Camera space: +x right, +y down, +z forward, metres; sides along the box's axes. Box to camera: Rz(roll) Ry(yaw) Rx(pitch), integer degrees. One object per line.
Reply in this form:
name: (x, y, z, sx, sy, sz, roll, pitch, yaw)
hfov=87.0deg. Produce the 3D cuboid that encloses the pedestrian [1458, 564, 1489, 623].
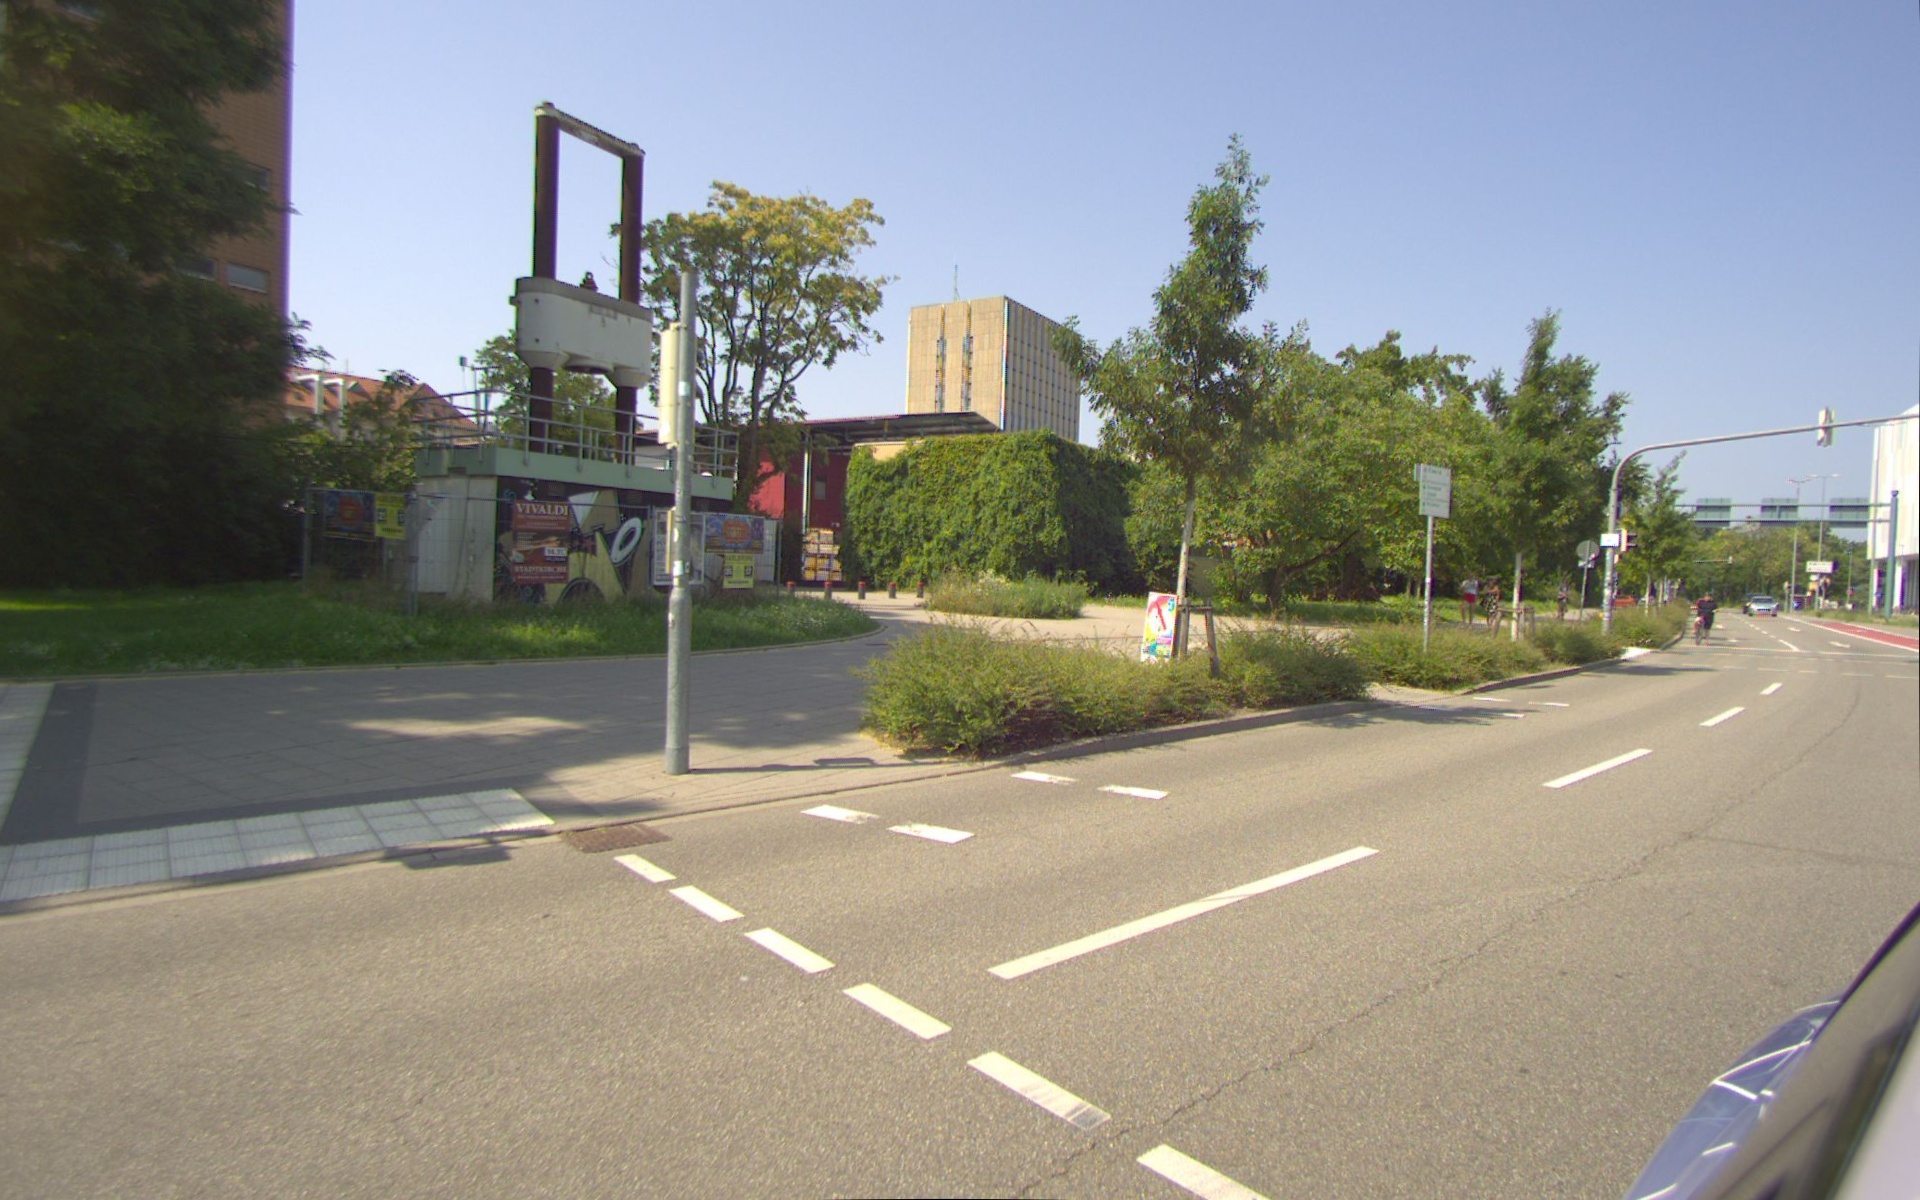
pedestrian: (16.172, -0.209, 31.872, 0.690, 1.793, 0.579, 3, 2, 38)

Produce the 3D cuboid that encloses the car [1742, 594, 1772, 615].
car: (74.942, 0.383, 95.178, 1.989, 1.801, 3.947, 3, 2, 37)

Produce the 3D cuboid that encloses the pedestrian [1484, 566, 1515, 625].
pedestrian: (16.784, -0.149, 31.497, 0.690, 1.793, 0.579, 3, 2, 38)

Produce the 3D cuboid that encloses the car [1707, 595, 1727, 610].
car: (98.851, 0.311, 132.188, 1.989, 1.801, 3.947, 3, 2, 37)

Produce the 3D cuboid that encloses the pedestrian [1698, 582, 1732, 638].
pedestrian: (23.359, 0.290, 31.324, 0.777, 1.689, 0.541, 3, 2, 38)

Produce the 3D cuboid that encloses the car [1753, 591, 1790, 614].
car: (63.436, 0.161, 79.155, 1.989, 1.699, 3.947, 3, 2, 37)

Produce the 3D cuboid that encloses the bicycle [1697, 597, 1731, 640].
bicycle: (23.380, 0.553, 31.369, 0.782, 1.227, 1.765, 3, 2, 37)

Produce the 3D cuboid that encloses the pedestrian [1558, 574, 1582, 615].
pedestrian: (27.748, -0.258, 46.043, 0.790, 1.790, 0.815, 3, 2, 38)
